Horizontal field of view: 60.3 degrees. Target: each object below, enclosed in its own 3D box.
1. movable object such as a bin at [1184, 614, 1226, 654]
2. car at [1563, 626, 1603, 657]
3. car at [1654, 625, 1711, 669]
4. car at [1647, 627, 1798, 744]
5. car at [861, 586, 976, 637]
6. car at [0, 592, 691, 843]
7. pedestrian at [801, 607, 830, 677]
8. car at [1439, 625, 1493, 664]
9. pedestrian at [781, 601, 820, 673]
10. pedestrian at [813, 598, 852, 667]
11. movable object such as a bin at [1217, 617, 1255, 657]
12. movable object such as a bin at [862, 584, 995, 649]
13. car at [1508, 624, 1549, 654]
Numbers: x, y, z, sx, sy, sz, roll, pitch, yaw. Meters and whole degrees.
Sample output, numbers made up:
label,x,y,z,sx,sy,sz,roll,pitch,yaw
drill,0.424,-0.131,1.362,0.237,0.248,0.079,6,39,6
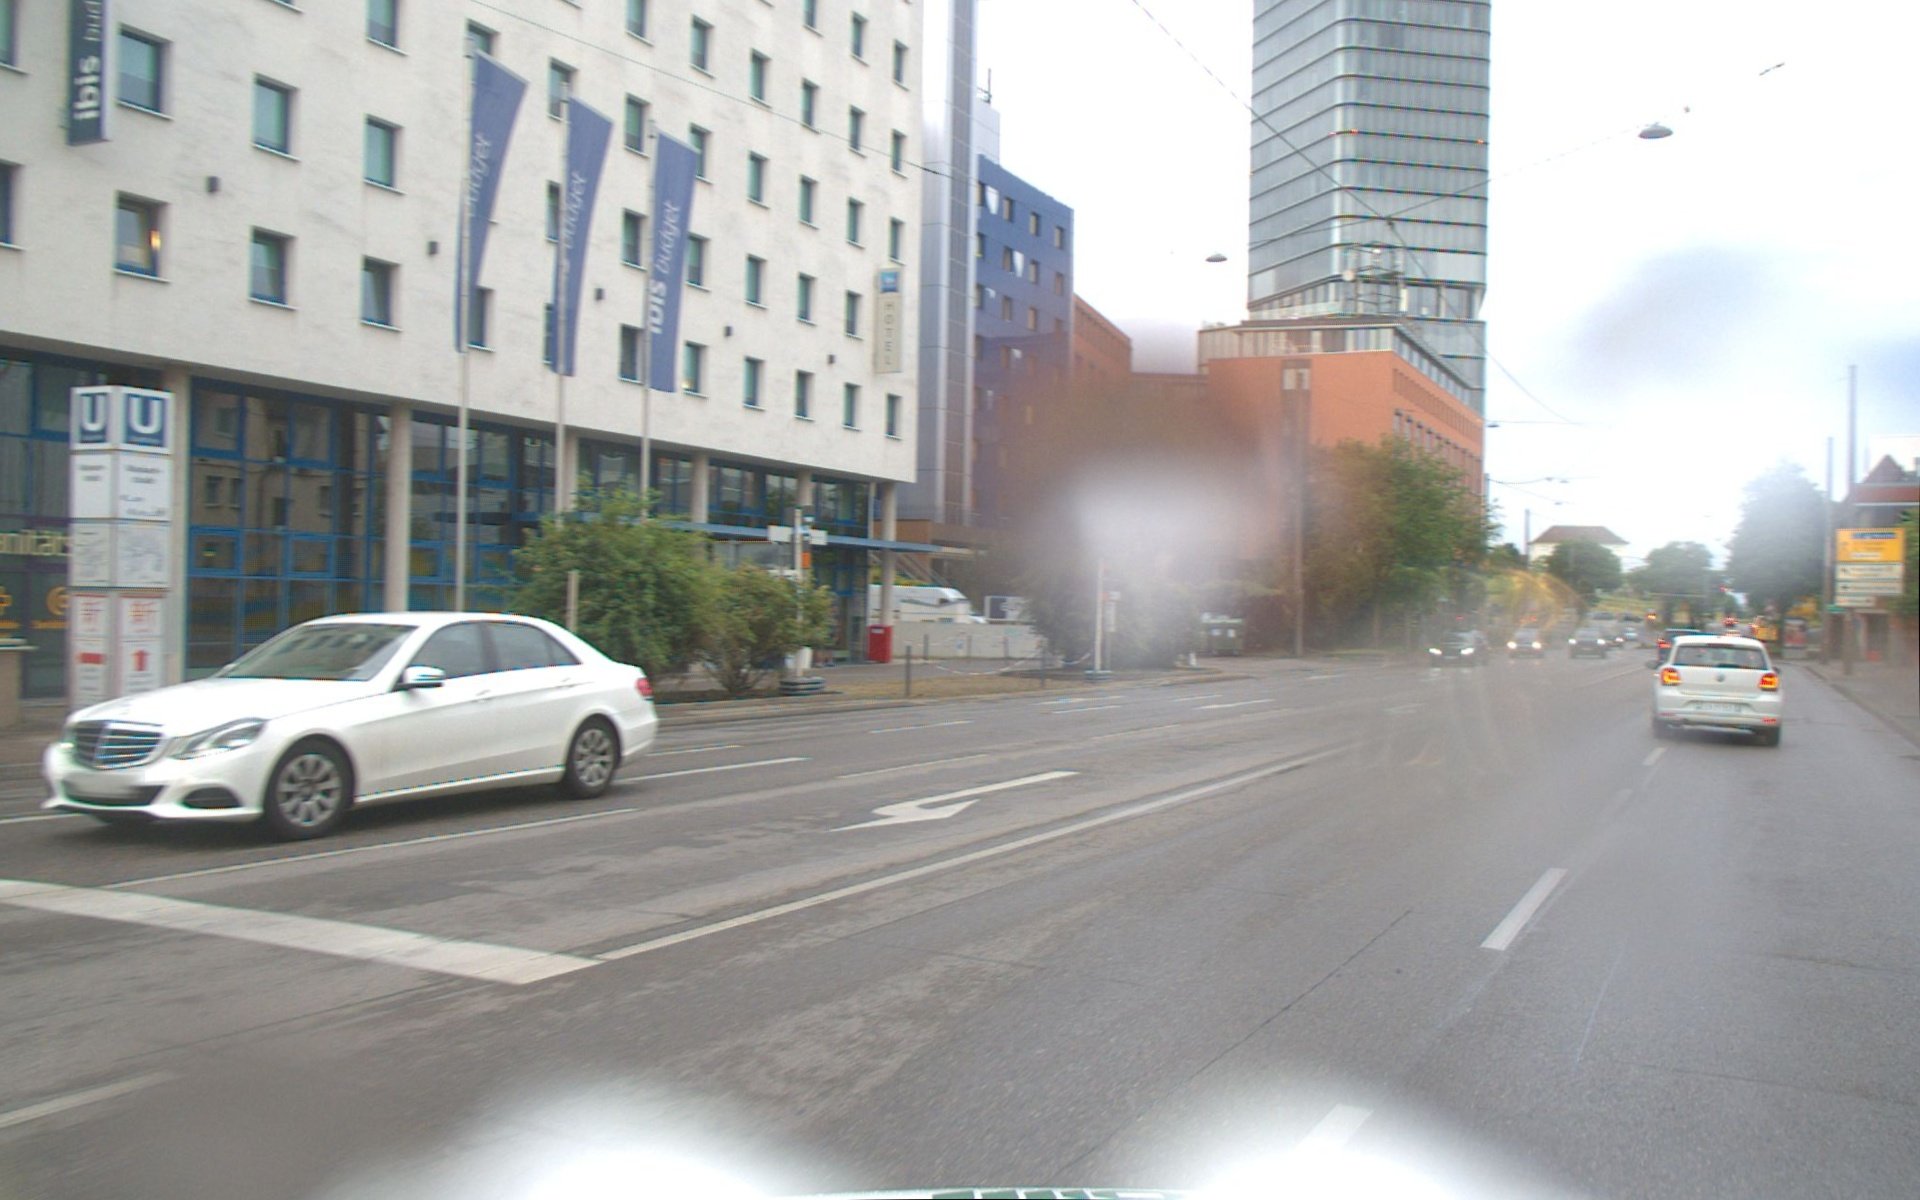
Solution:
label,x,y,z,sx,sy,sz,roll,pitch,yaw
movable object such as a bin,9.591,1.354,64.724,1.367,1.517,0.947,-2,-4,37
car,34.723,2.304,92.147,1.721,1.583,4.447,-1,0,25
car,28.470,1.841,65.118,1.954,1.601,3.997,1,-1,25
car,11.079,1.192,24.234,1.636,1.499,3.780,2,-1,20
car,-1.783,0.530,71.039,4.620,2.049,1.891,-1,-4,26
car,-4.127,0.725,12.058,1.781,1.411,4.959,1,-1,25
pedestrian,-4.287,1.246,49.157,0.796,2.049,0.804,1,-4,-2
car,20.971,1.830,68.463,1.698,1.503,4.697,1,-1,23
pedestrian,-4.603,1.092,47.884,0.786,2.049,0.814,-1,-4,27
pedestrian,-3.860,1.005,50.200,0.890,2.049,0.805,3,-4,-35
movable object such as a bin,10.662,1.437,63.939,1.361,1.517,0.952,-1,-4,16
movable object such as a bin,-1.401,0.770,73.254,5.514,2.674,2.159,-1,-4,26
car,31.525,2.146,91.620,1.674,1.593,4.030,-1,-1,26
